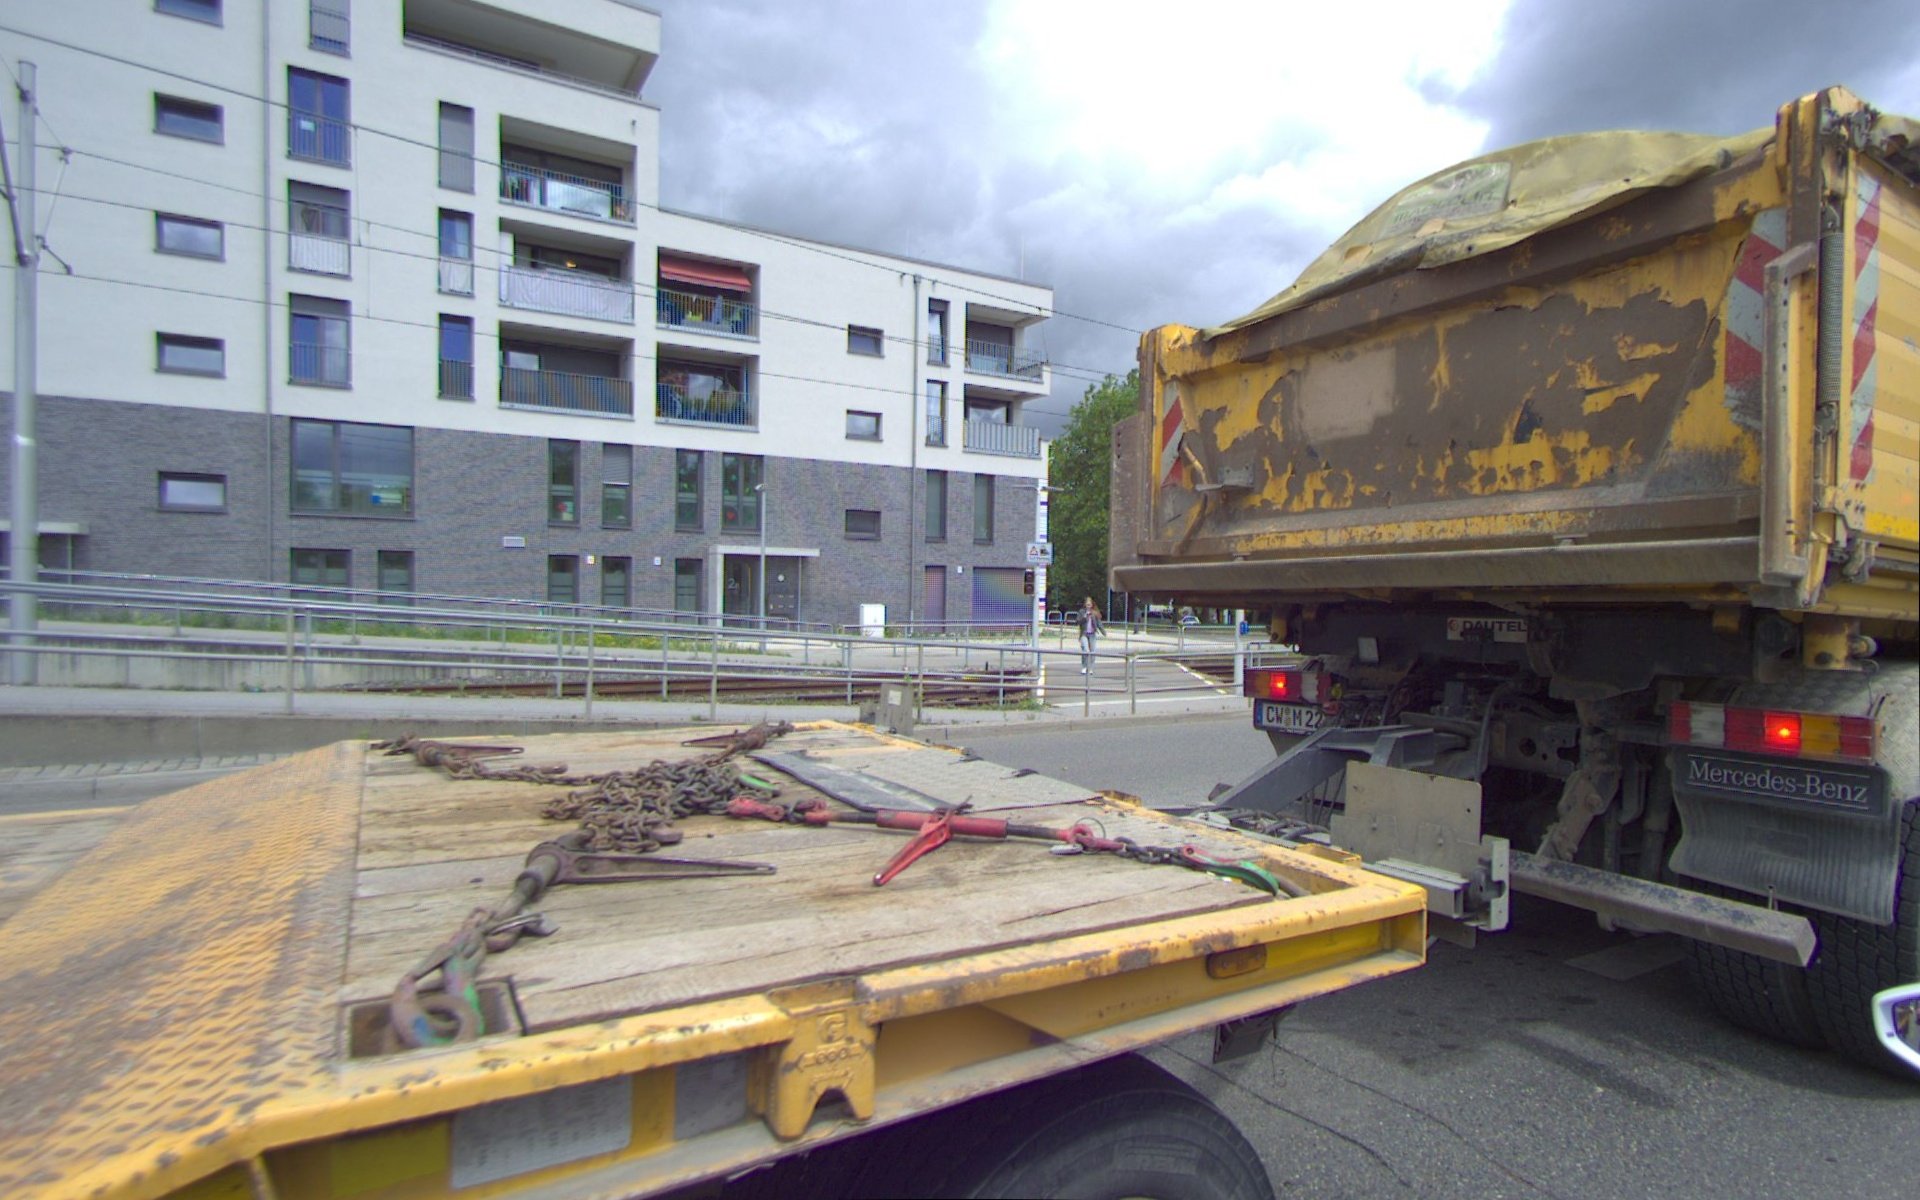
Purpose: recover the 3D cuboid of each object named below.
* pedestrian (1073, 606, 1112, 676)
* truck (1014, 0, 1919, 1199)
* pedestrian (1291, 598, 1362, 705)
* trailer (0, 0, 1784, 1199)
[{"bbox_3d":[2.893,0.884,21.989,0.782,1.499,0.530,1,1,3],"label":"pedestrian"},{"bbox_3d":[4.487,-0.106,5.376,8.254,3.358,2.739,1,1,-31],"label":"truck"},{"bbox_3d":[6.019,0.819,16.514,0.675,1.691,0.817,0,1,-29],"label":"pedestrian"},{"bbox_3d":[-3.813,-0.433,0.360,11.122,3.606,2.715,1,1,-31],"label":"trailer"}]
